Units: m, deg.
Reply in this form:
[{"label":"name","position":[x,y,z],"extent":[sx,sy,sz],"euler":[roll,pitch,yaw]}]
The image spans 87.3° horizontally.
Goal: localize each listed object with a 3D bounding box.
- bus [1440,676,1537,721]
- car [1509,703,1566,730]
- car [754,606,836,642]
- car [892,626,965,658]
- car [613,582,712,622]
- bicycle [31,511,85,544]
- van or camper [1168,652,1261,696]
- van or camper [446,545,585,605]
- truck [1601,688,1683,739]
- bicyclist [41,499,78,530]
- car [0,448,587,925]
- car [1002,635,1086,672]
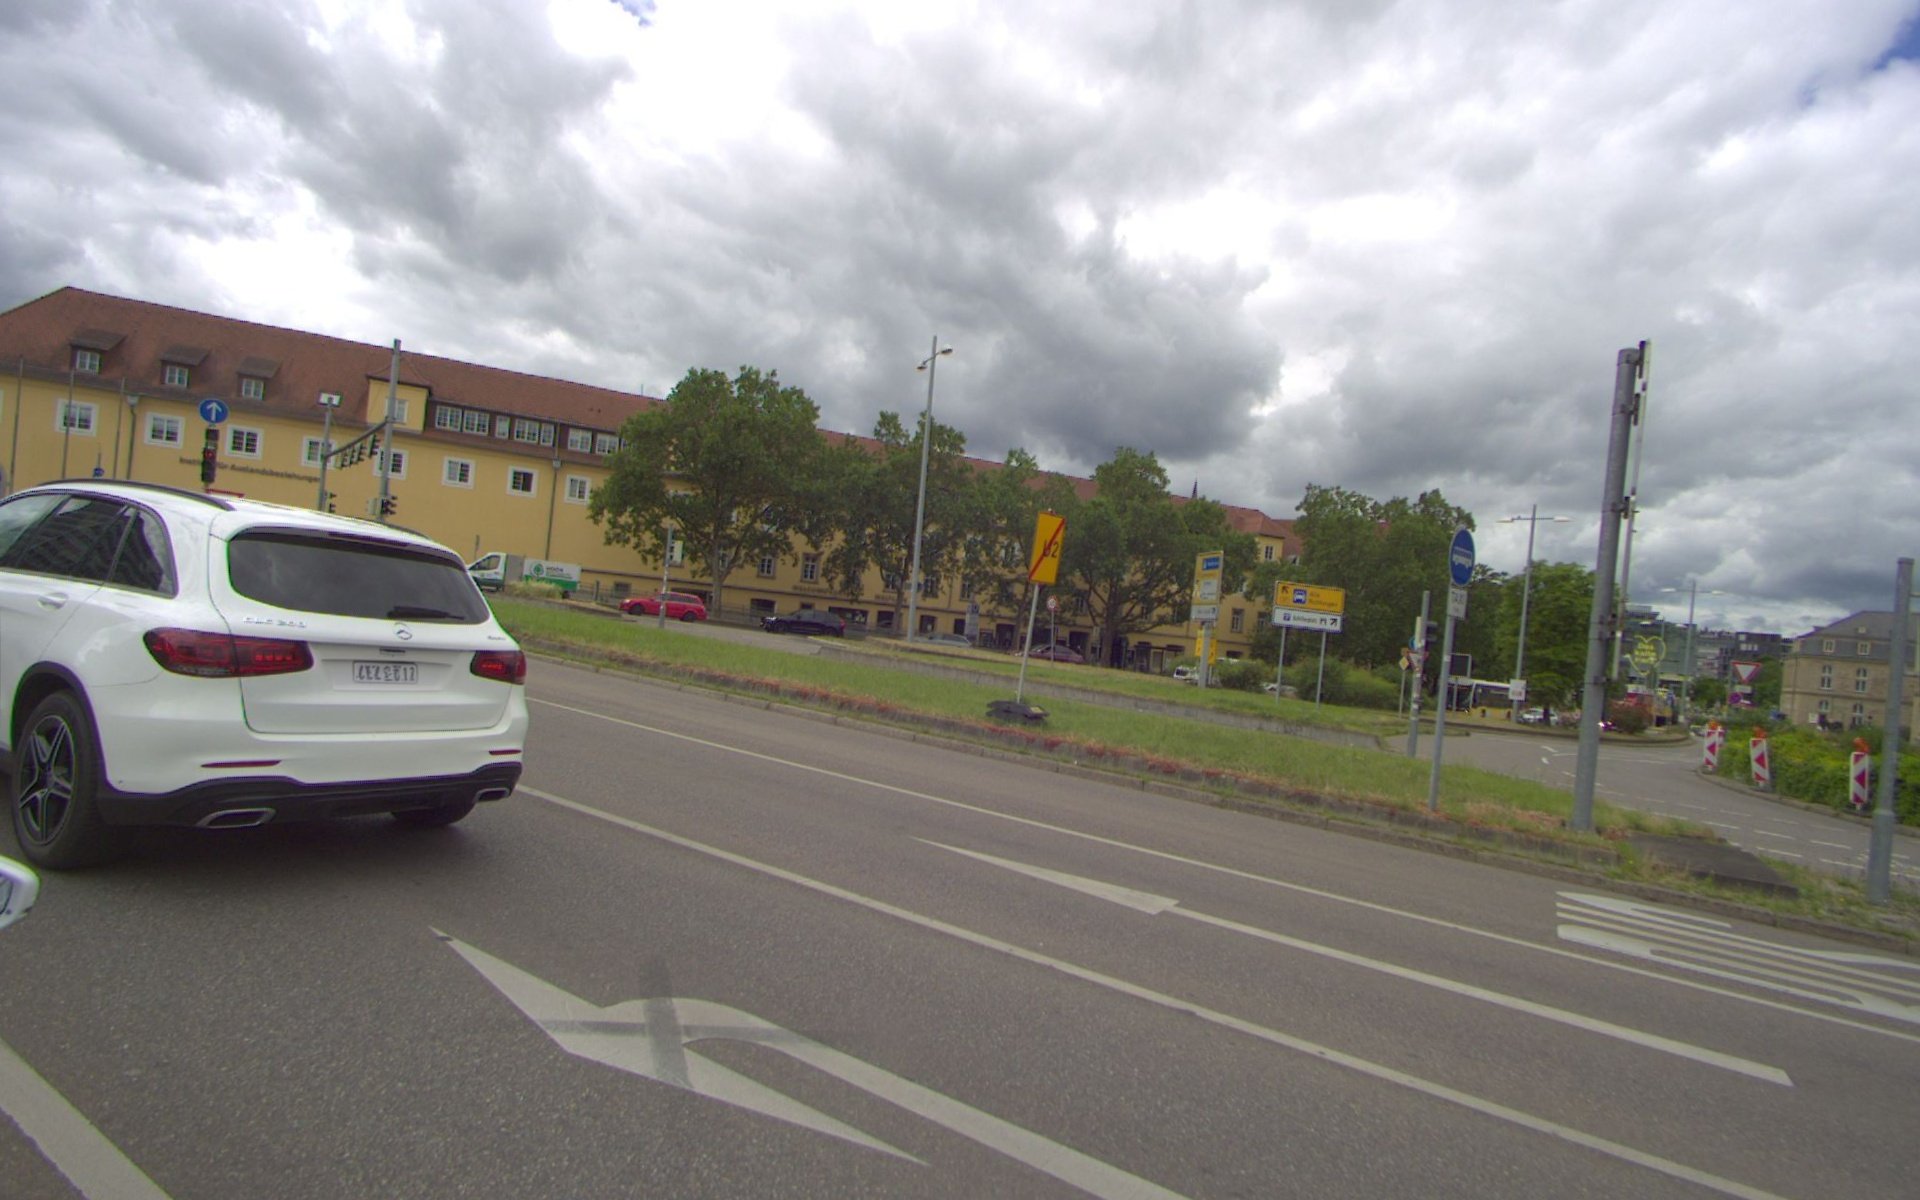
[{"label":"bus","position":[45.468,8.501,86.471],"extent":[9.569,2.884,2.550],"euler":[8,-1,-31]},{"label":"car","position":[41.413,8.389,72.104],"extent":[4.052,1.430,1.800],"euler":[9,-1,-34]},{"label":"car","position":[-9.077,1.336,55.301],"extent":[4.040,1.430,1.649],"euler":[8,-1,-26]},{"label":"car","position":[-1.929,2.617,62.055],"extent":[4.040,1.430,1.649],"euler":[8,-1,-26]},{"label":"car","position":[-15.393,0.132,52.158],"extent":[4.636,1.437,1.587],"euler":[8,-1,-26]},{"label":"bicycle","position":[-39.613,-3.191,44.182],"extent":[2.422,1.172,0.925],"euler":[7,-1,29]},{"label":"van or camper","position":[14.448,4.200,57.017],"extent":[5.092,1.914,1.649],"euler":[8,-1,-26]},{"label":"van or camper","position":[-21.700,-1.196,49.366],"extent":[5.944,2.037,2.010],"euler":[8,-1,-22]},{"label":"truck","position":[57.321,9.570,84.534],"extent":[7.563,3.409,2.788],"euler":[8,-1,-33]},{"label":"bicyclist","position":[-39.535,-3.764,44.185],"extent":[0.713,1.172,0.925],"euler":[7,-1,28]},{"label":"car","position":[-4.349,0.180,5.467],"extent":[4.303,1.667,1.823],"euler":[7,-1,28]},{"label":"car","position":[4.615,2.943,55.095],"extent":[4.195,1.437,1.649],"euler":[8,-1,-26]}]
